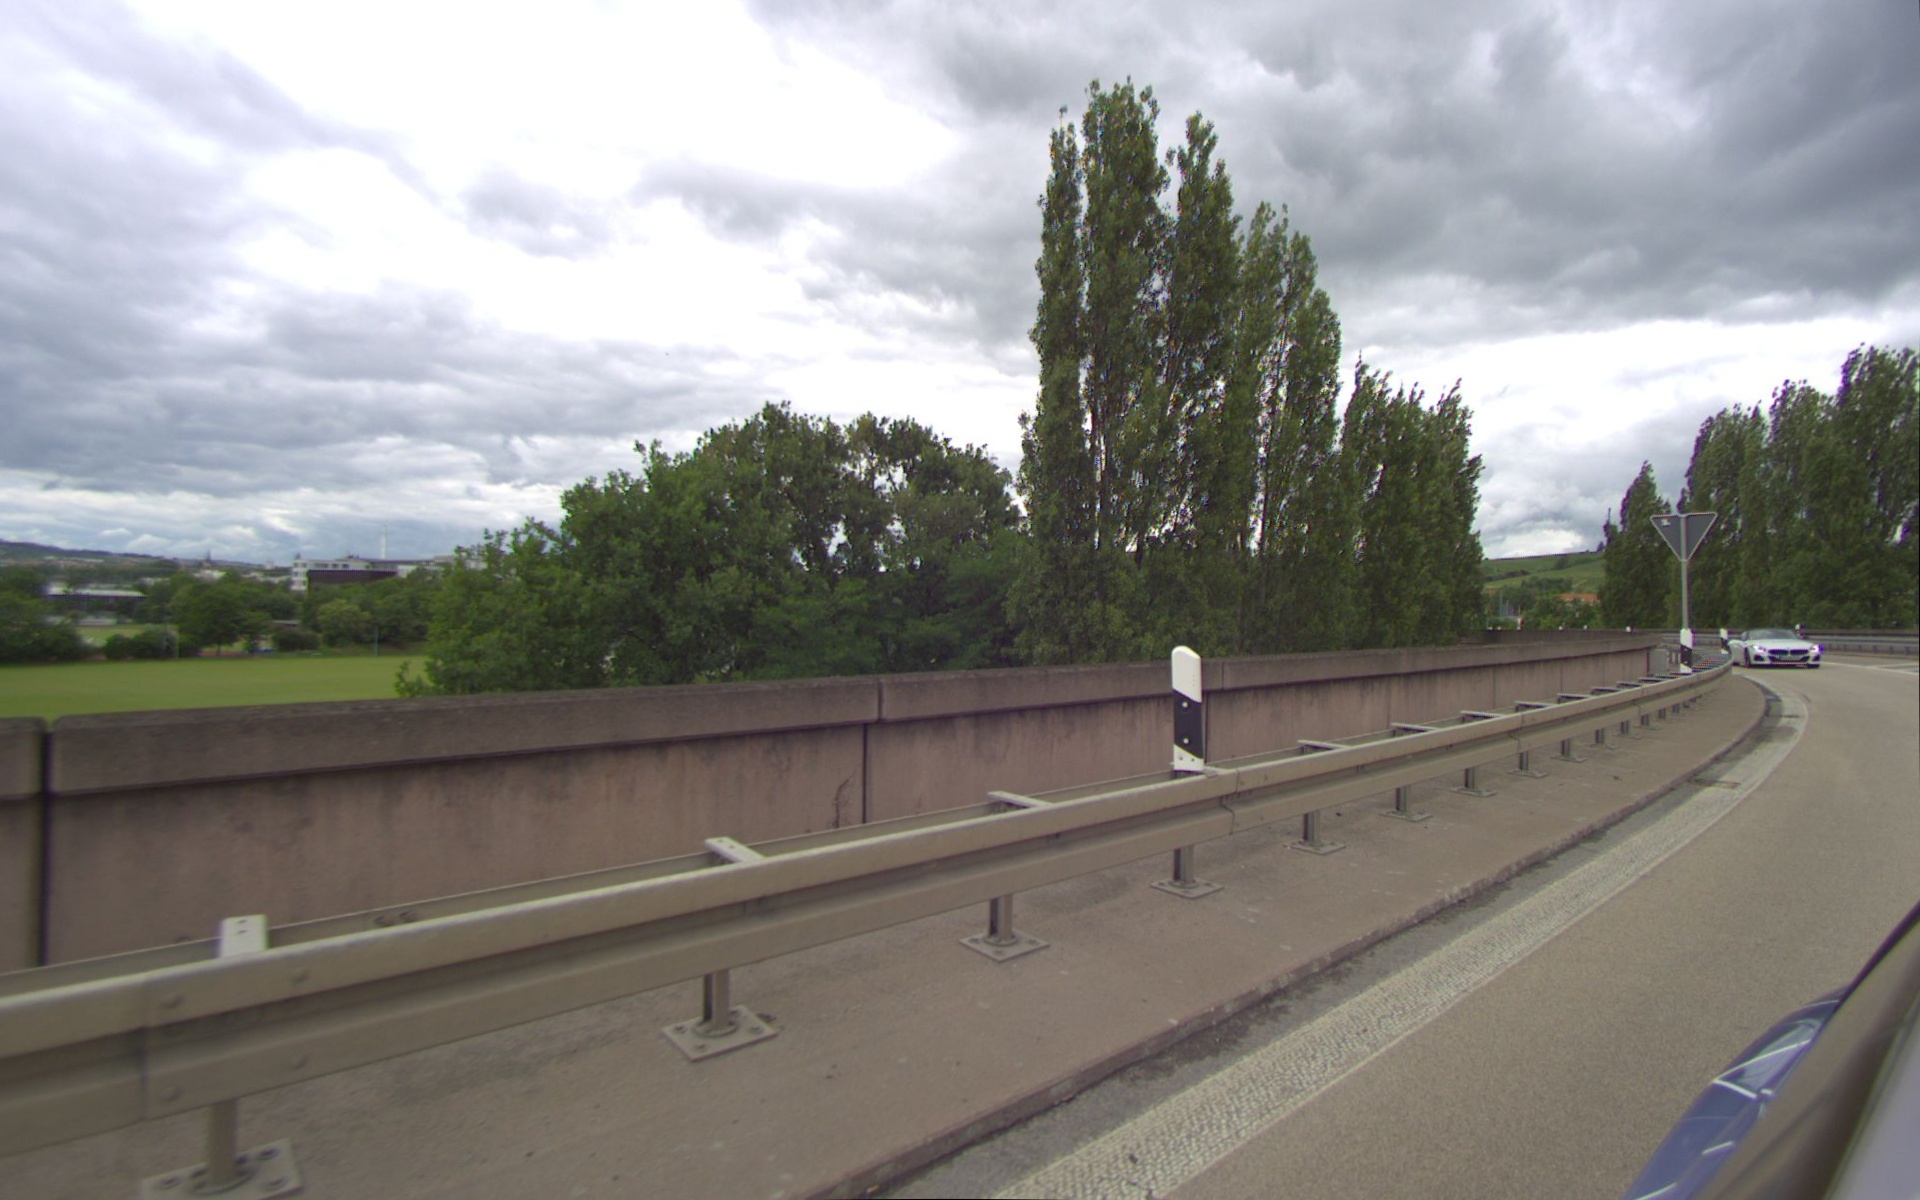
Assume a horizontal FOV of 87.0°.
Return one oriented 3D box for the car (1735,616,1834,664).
[{"bbox_3d":[27.316,1.276,33.675,1.849,1.361,4.772,0,0,31],"label":"car"}]
